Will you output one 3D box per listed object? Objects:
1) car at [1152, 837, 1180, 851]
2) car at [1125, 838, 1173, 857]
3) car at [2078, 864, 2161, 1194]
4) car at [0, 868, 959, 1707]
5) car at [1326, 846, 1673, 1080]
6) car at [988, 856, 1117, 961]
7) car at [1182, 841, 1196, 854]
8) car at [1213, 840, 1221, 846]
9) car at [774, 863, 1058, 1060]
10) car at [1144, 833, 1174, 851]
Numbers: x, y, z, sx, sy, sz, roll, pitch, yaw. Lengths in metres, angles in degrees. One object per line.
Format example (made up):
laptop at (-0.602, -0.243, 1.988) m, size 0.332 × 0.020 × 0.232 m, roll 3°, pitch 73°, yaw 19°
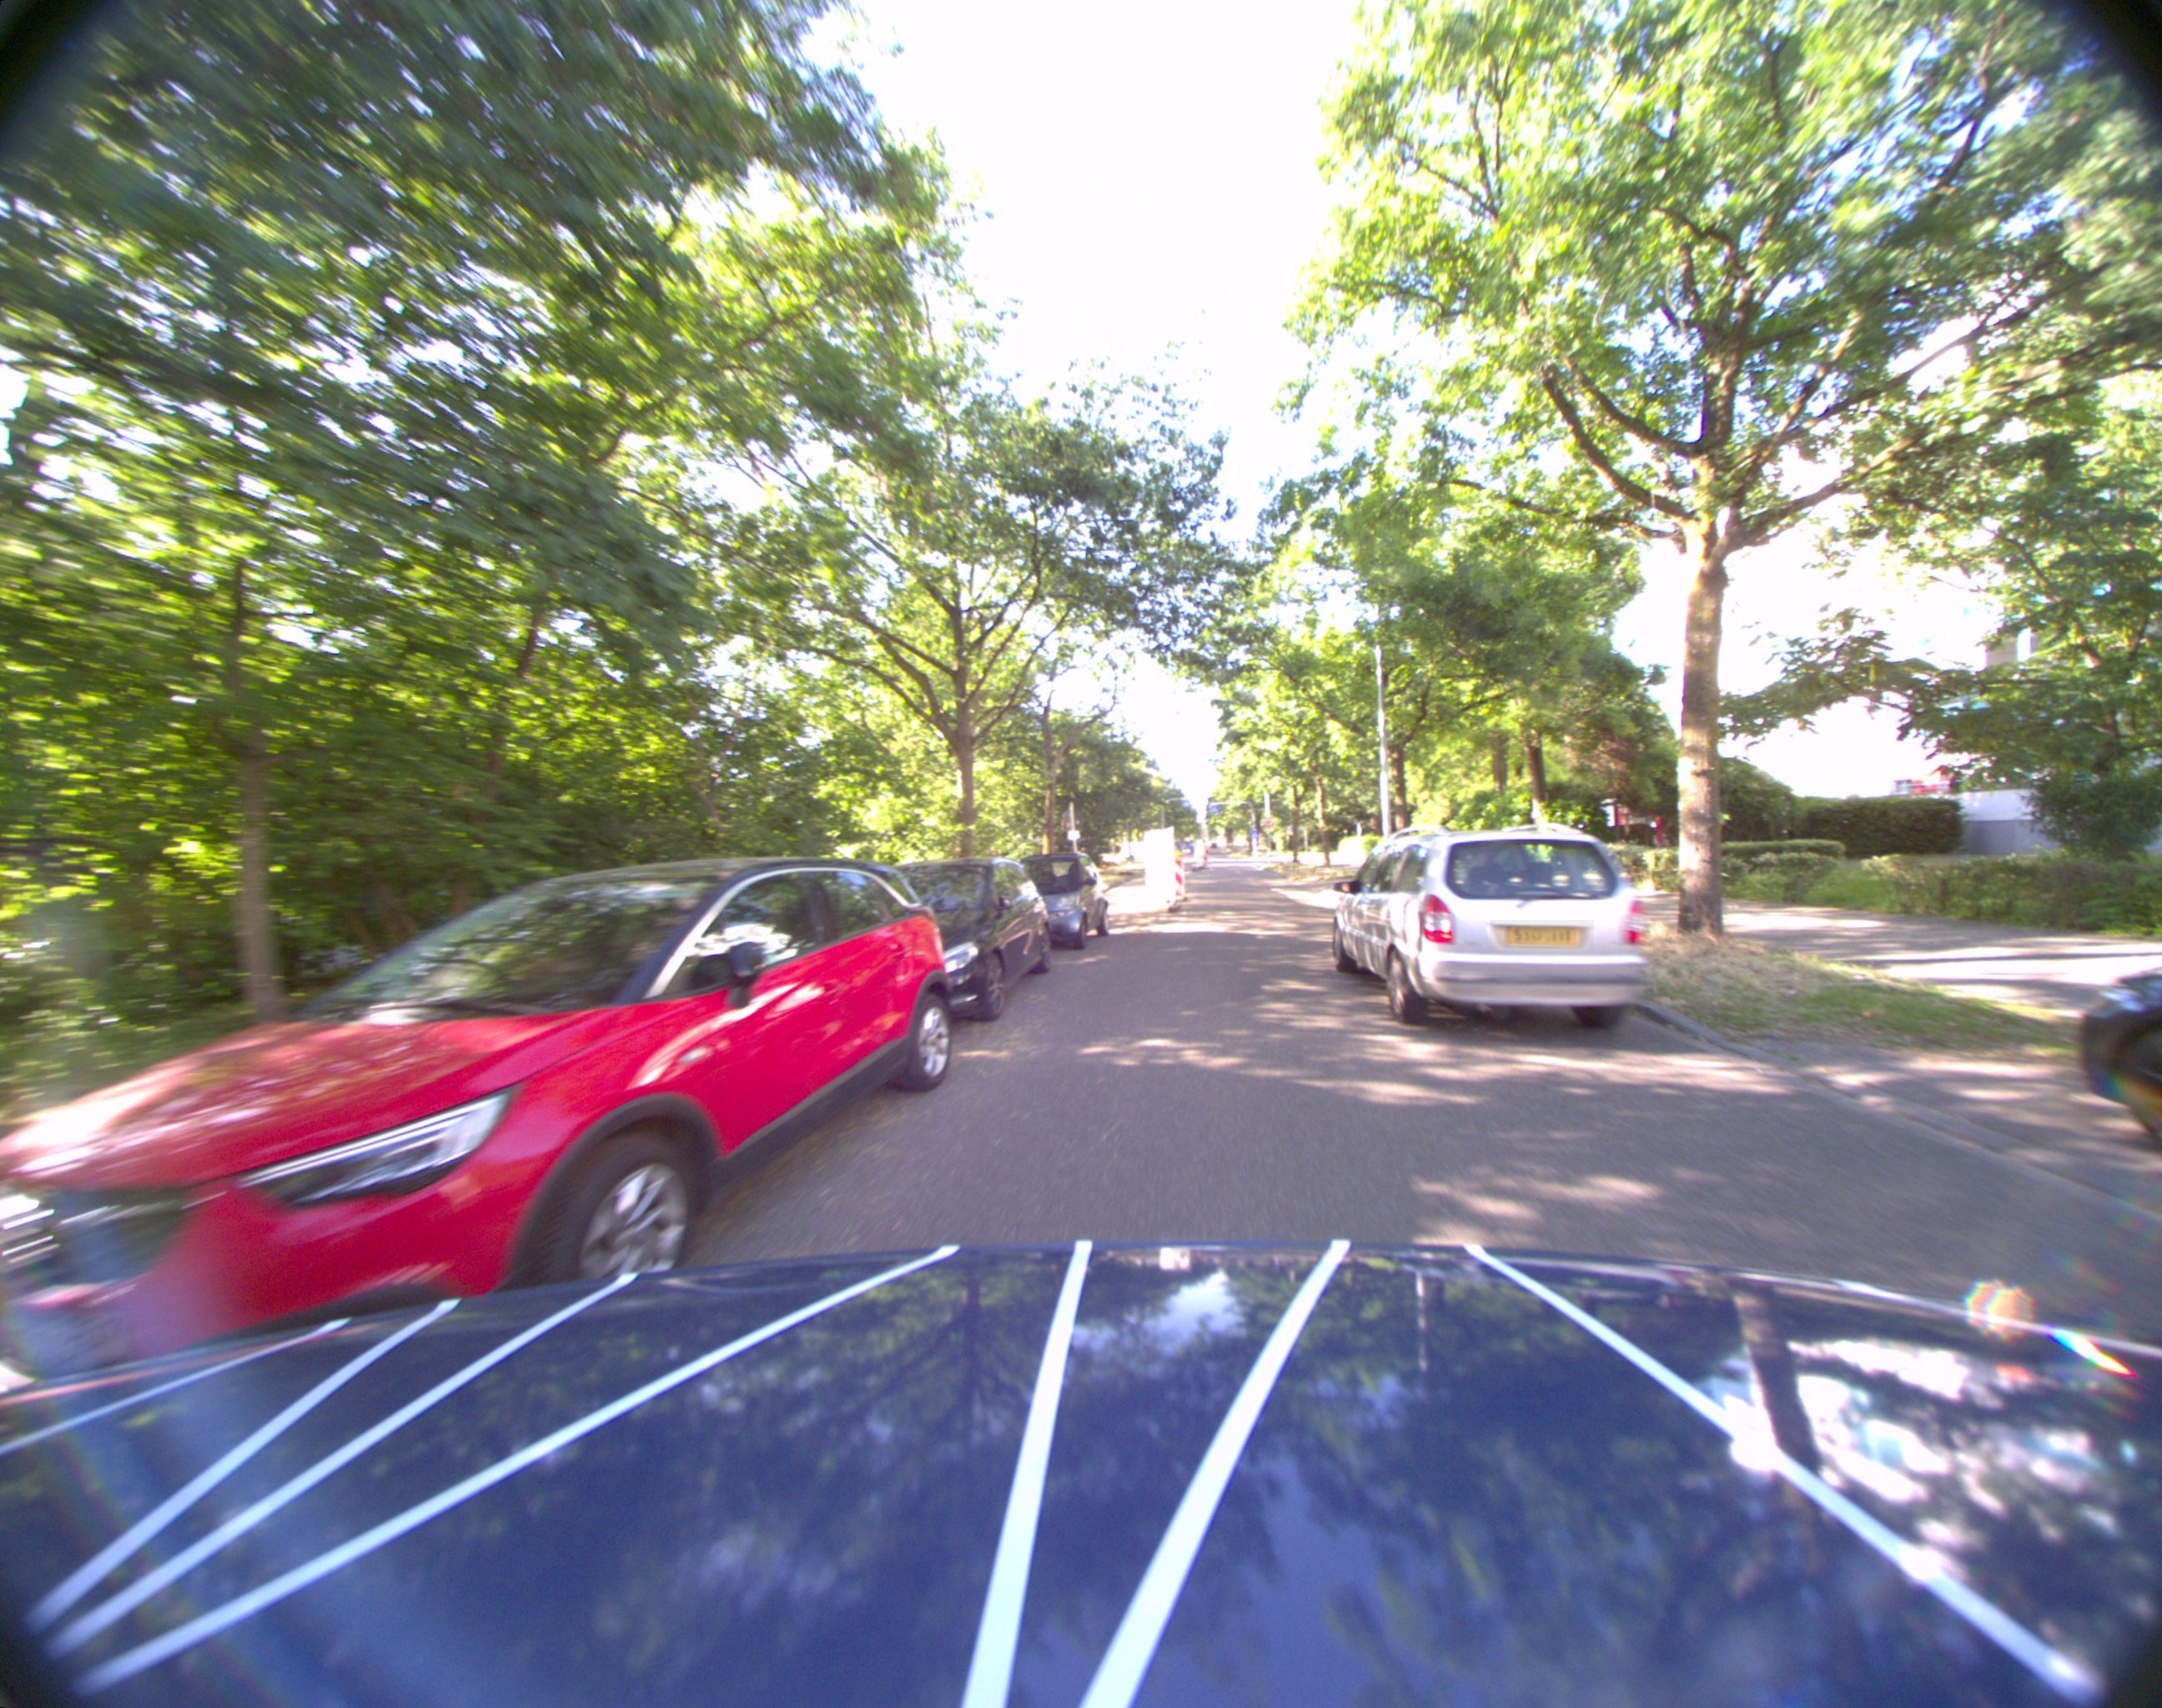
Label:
car at (13.187, -1.551, 118.116) m, size 4.241 × 1.993 × 1.566 m, roll -1°, pitch 1°, yaw 6°
car at (7.739, -0.719, 85.876) m, size 5.265 × 1.993 × 2.001 m, roll -1°, pitch 1°, yaw 8°
car at (5.332, 0.746, 1.419) m, size 1.719 × 1.424 × 4.139 m, roll -4°, pitch 0°, yaw 7°
car at (-2.119, 0.960, 3.518) m, size 1.681 × 1.565 × 4.069 m, roll -3°, pitch 0°, yaw 11°
car at (3.553, 0.737, 7.331) m, size 1.662 × 1.587 × 4.010 m, roll 0°, pitch 1°, yaw 9°
car at (-0.386, 0.849, 12.946) m, size 1.496 × 1.500 × 2.679 m, roll -3°, pitch 1°, yaw 12°
car at (16.185, -1.055, 113.682) m, size 1.997 × 1.871 × 4.002 m, roll 0°, pitch 2°, yaw 11°
car at (38.285, -3.083, 214.326) m, size 1.997 × 1.805 × 4.003 m, roll -2°, pitch 1°, yaw 12°
car at (-1.465, 0.948, 8.453) m, size 1.715 × 1.500 × 4.151 m, roll -3°, pitch 0°, yaw 7°
car at (11.607, -1.810, 113.037) m, size 4.408 × 2.531 × 1.889 m, roll -1°, pitch 1°, yaw 6°
